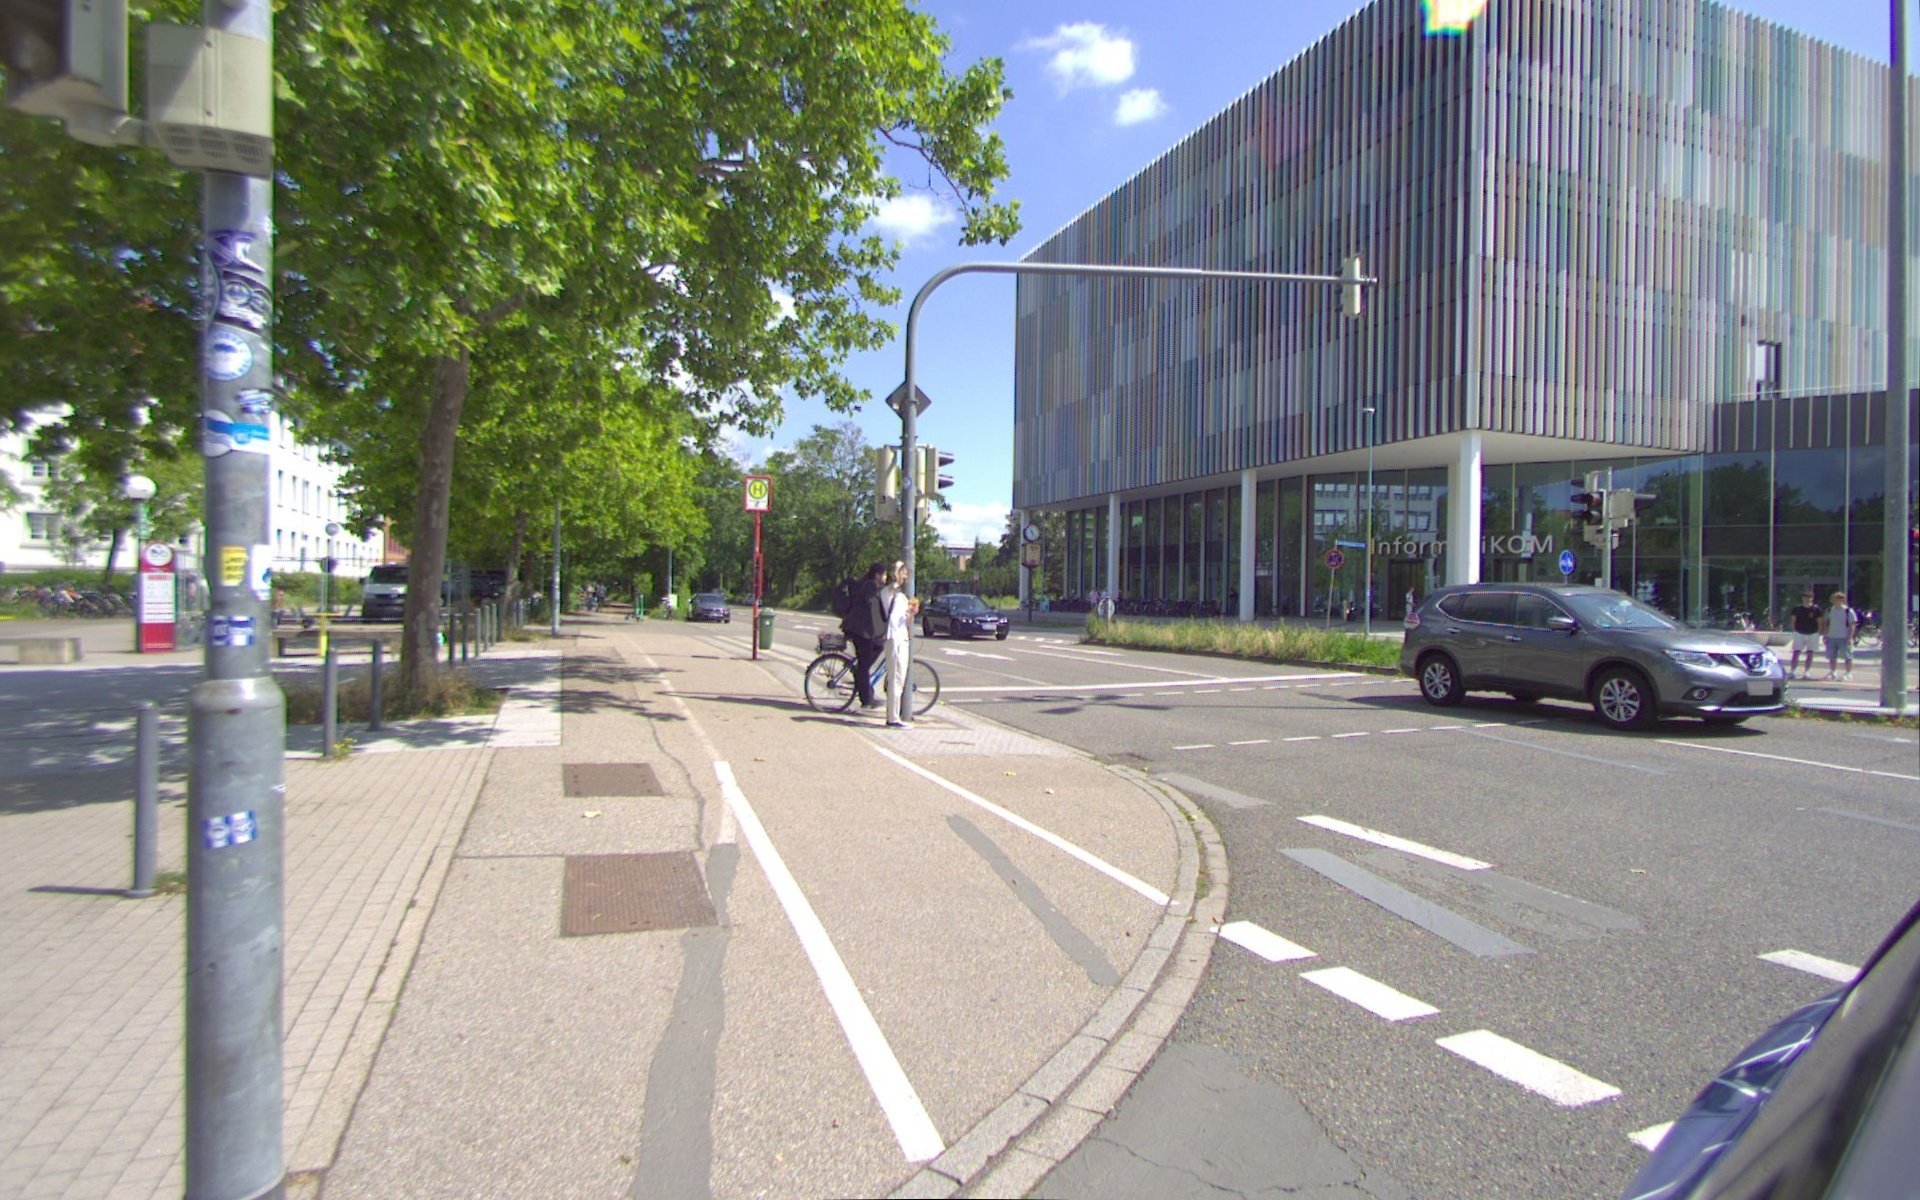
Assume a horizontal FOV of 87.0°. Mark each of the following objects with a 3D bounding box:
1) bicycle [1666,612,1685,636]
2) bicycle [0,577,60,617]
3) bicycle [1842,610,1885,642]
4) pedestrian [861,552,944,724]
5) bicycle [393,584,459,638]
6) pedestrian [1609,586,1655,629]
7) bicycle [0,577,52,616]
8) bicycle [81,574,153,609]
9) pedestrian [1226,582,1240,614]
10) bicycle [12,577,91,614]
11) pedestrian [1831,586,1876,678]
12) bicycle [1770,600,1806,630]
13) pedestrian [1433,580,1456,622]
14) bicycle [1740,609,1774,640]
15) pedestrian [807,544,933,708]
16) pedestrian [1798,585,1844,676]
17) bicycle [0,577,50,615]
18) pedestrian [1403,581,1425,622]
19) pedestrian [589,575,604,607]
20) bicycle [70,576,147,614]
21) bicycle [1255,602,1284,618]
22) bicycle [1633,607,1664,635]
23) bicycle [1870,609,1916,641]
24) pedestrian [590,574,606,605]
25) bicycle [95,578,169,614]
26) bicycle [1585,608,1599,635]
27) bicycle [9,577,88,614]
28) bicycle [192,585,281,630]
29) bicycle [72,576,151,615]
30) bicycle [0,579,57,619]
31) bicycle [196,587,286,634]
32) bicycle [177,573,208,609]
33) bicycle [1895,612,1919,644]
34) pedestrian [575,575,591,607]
[{"bbox_3d":[26.026,0.865,36.818,0.526,0.773,1.750,1,1,36],"label":"bicycle"},{"bbox_3d":[-26.505,-0.087,28.440,0.601,1.112,1.744,0,2,38],"label":"bicycle"},{"bbox_3d":[30.394,0.860,34.066,0.523,0.967,1.760,1,1,22],"label":"bicycle"},{"bbox_3d":[-0.630,0.407,11.124,0.599,1.823,0.596,3,-1,-36],"label":"pedestrian"},{"bbox_3d":[-12.571,0.239,23.888,0.783,1.198,2.035,0,1,-10],"label":"bicycle"},{"bbox_3d":[26.362,0.287,39.722,1.158,1.671,1.017,1,0,-21],"label":"pedestrian"},{"bbox_3d":[-27.675,-0.118,29.491,0.601,1.112,1.744,0,2,38],"label":"bicycle"},{"bbox_3d":[-27.799,-0.296,33.392,0.600,1.112,1.744,0,2,37],"label":"bicycle"},{"bbox_3d":[16.003,-0.137,59.271,0.551,1.865,0.555,0,1,-29],"label":"pedestrian"},{"bbox_3d":[-28.019,-0.147,31.222,0.513,1.112,1.744,0,2,37],"label":"bicycle"},{"bbox_3d":[18.341,0.639,20.780,0.407,1.865,0.576,0,1,-26],"label":"pedestrian"},{"bbox_3d":[28.671,0.518,35.067,0.523,0.967,1.758,-2,0,25],"label":"bicycle"},{"bbox_3d":[21.950,0.038,45.838,0.676,1.865,0.679,0,1,-14],"label":"pedestrian"},{"bbox_3d":[27.878,0.851,35.405,0.523,0.967,1.758,1,2,25],"label":"bicycle"},{"bbox_3d":[-1.107,0.301,12.301,1.151,1.842,0.859,5,1,-23],"label":"pedestrian"},{"bbox_3d":[18.012,0.617,21.176,0.471,1.865,0.633,0,1,-35],"label":"pedestrian"},{"bbox_3d":[-28.188,-0.112,29.977,0.601,1.112,1.744,0,2,38],"label":"bicycle"},{"bbox_3d":[20.727,0.074,46.206,0.777,1.865,0.515,0,1,13],"label":"pedestrian"},{"bbox_3d":[-20.804,-0.528,57.971,0.670,1.803,0.792,-1,1,-10],"label":"pedestrian"},{"bbox_3d":[-26.360,-0.166,31.346,0.601,1.112,1.744,0,2,38],"label":"bicycle"},{"bbox_3d":[16.425,0.515,53.720,1.514,0.785,0.374,-1,1,-18],"label":"bicycle"},{"bbox_3d":[25.438,0.764,37.378,1.743,0.967,0.528,0,1,-41],"label":"bicycle"},{"bbox_3d":[31.113,0.824,33.761,0.523,0.967,1.760,1,1,22],"label":"bicycle"},{"bbox_3d":[-21.433,-0.632,59.911,0.670,1.803,0.792,-1,1,-4],"label":"pedestrian"},{"bbox_3d":[-26.715,-0.130,32.683,0.600,1.112,1.744,0,2,37],"label":"bicycle"},{"bbox_3d":[24.055,0.813,38.527,0.370,0.967,1.755,1,1,30],"label":"bicycle"},{"bbox_3d":[-28.472,-0.154,31.641,0.589,1.112,1.744,0,2,37],"label":"bicycle"},{"bbox_3d":[-18.536,0.172,25.955,0.601,1.112,1.744,0,2,38],"label":"bicycle"},{"bbox_3d":[-25.623,-0.153,30.593,0.601,1.112,1.744,0,2,38],"label":"bicycle"},{"bbox_3d":[-27.132,-0.028,29.021,0.601,1.112,1.744,0,2,38],"label":"bicycle"},{"bbox_3d":[-18.056,0.248,25.443,0.601,1.112,1.744,0,2,38],"label":"bicycle"},{"bbox_3d":[-25.864,-0.315,34.107,0.595,1.152,1.590,2,0,-30],"label":"bicycle"},{"bbox_3d":[31.658,0.924,33.432,0.523,0.967,1.760,1,1,22],"label":"bicycle"},{"bbox_3d":[-21.630,-0.542,58.047,0.670,1.803,0.792,-1,1,-4],"label":"pedestrian"}]
